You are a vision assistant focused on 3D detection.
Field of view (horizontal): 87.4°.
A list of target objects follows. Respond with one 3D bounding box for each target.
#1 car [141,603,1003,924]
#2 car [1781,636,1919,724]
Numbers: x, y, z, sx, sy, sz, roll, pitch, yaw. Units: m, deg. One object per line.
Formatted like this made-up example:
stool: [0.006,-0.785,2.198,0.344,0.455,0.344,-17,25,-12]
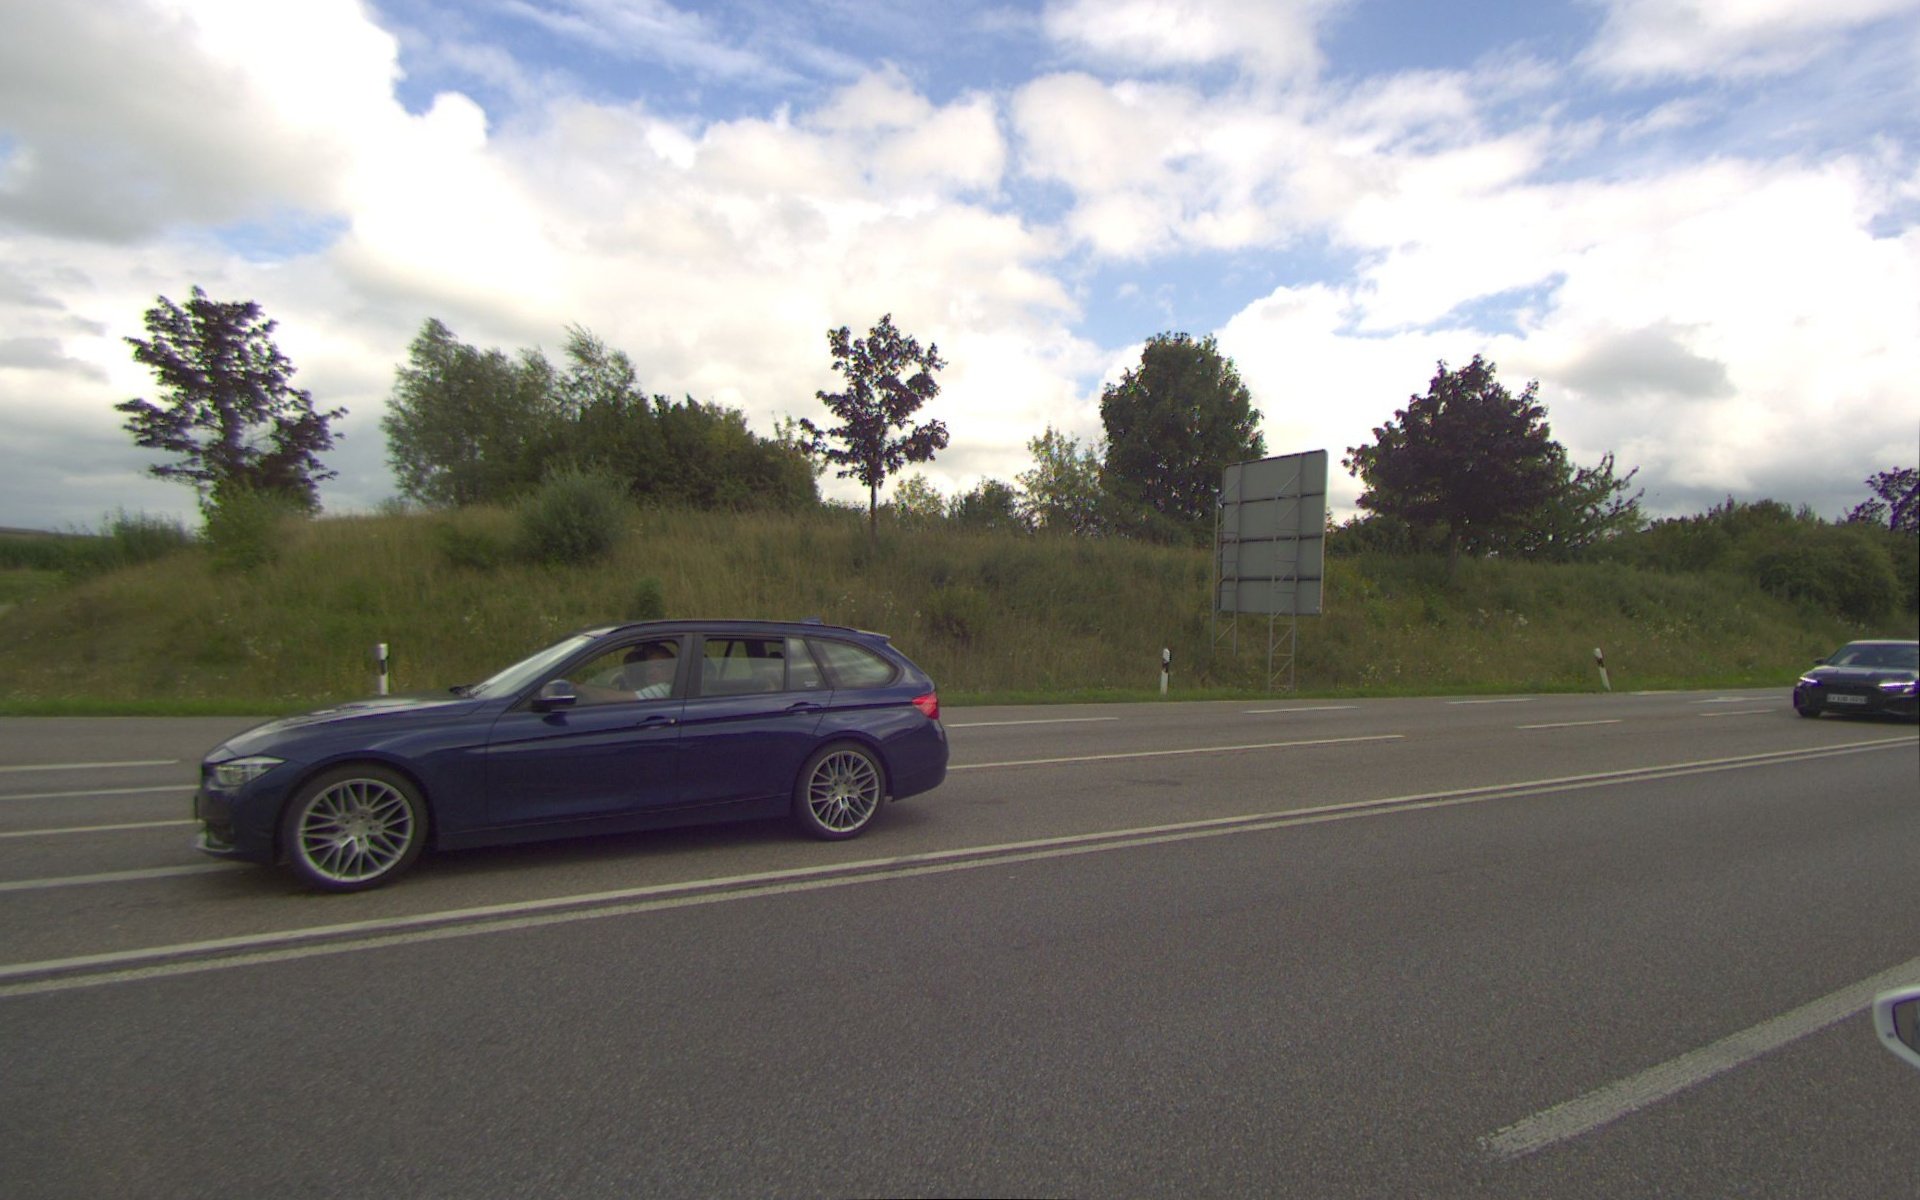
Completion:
car: [-2.270,0.840,6.844,4.825,1.503,2.038,1,-2,-31]
car: [17.127,1.399,18.508,4.494,1.401,1.755,2,-1,-32]
